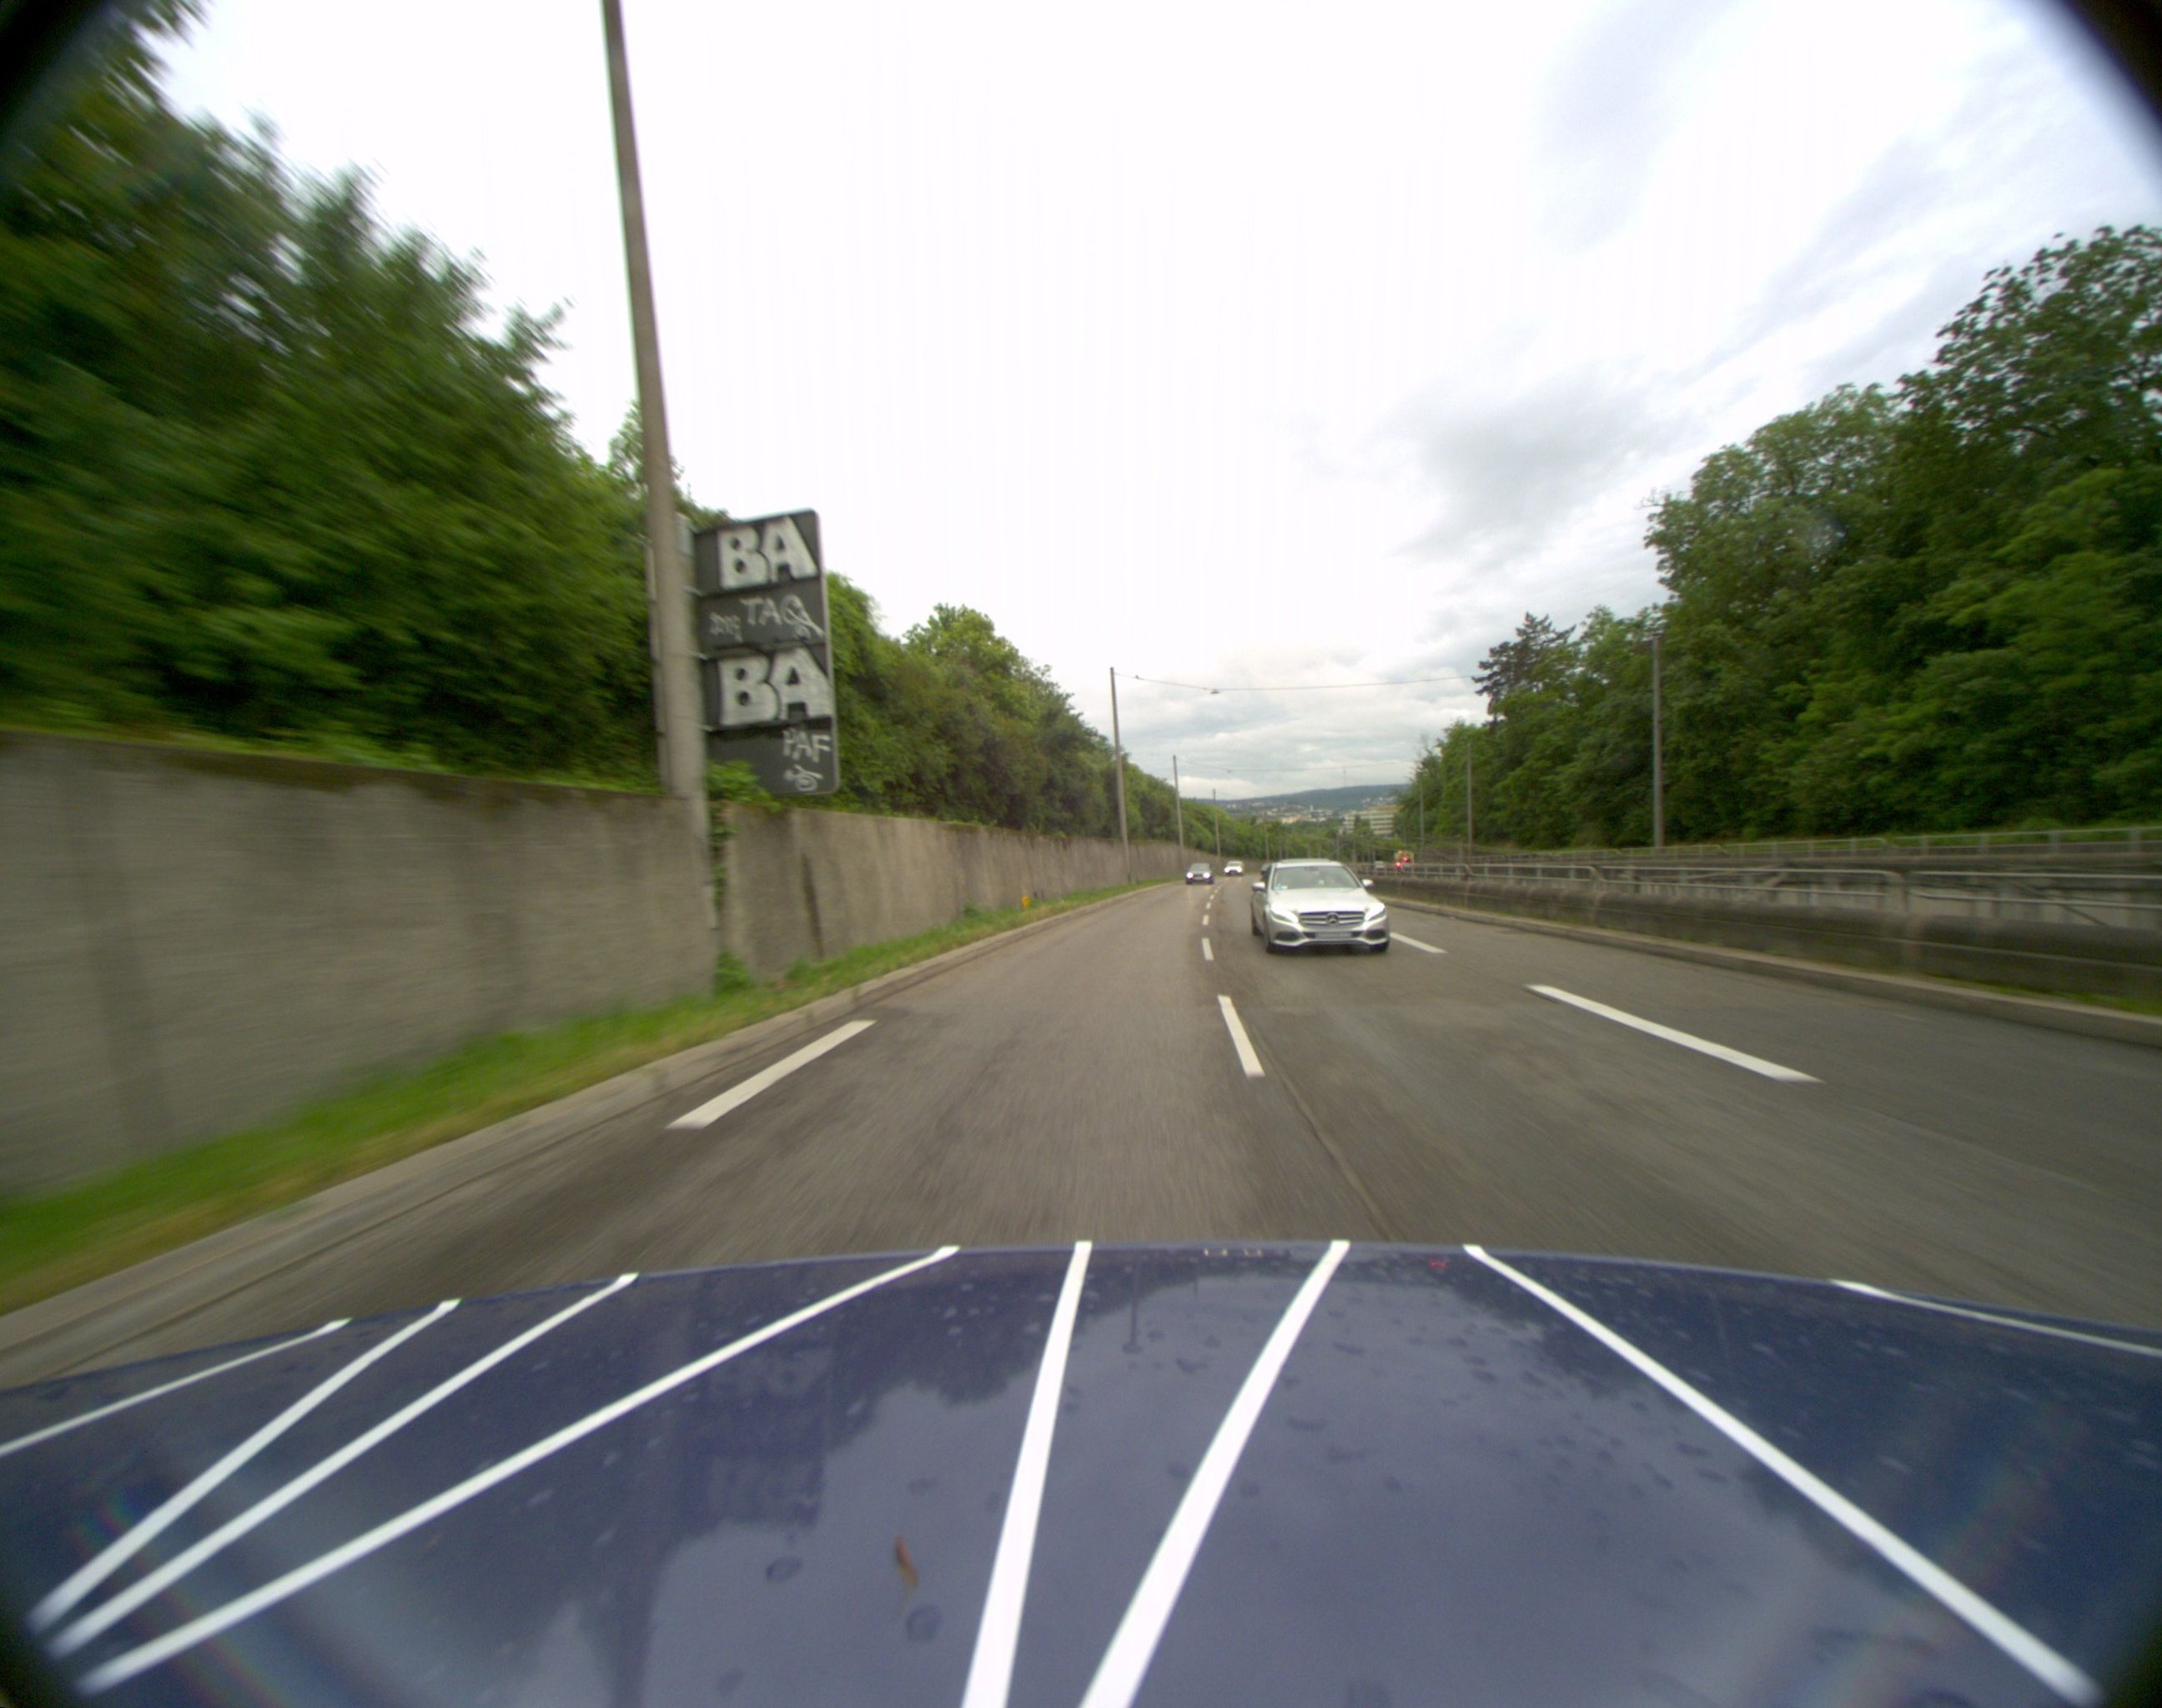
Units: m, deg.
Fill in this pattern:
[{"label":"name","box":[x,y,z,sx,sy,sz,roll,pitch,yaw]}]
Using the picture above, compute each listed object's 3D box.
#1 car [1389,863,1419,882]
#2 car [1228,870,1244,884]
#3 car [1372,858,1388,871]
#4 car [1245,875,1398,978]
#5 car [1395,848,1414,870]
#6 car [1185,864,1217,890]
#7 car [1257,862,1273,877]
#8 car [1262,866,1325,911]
[{"label":"car","box":[31.099,1.734,73.262,1.964,1.739,4.146,0,0,14]},{"label":"car","box":[19.556,2.946,96.186,1.808,1.501,4.003,-3,0,10]},{"label":"car","box":[39.187,1.411,99.621,1.819,1.694,4.118,0,0,24]},{"label":"car","box":[3.907,1.110,13.068,1.860,1.394,4.318,-1,-1,9]},{"label":"car","box":[41.982,0.607,98.444,2.184,2.718,6.356,0,0,23]},{"label":"car","box":[8.153,1.549,51.456,1.808,1.501,4.003,-3,0,13]},{"label":"car","box":[25.354,2.137,104.430,1.996,2.001,4.500,0,-1,15]},{"label":"car","box":[7.550,1.180,27.322,1.728,1.462,3.891,-1,-1,9]}]
